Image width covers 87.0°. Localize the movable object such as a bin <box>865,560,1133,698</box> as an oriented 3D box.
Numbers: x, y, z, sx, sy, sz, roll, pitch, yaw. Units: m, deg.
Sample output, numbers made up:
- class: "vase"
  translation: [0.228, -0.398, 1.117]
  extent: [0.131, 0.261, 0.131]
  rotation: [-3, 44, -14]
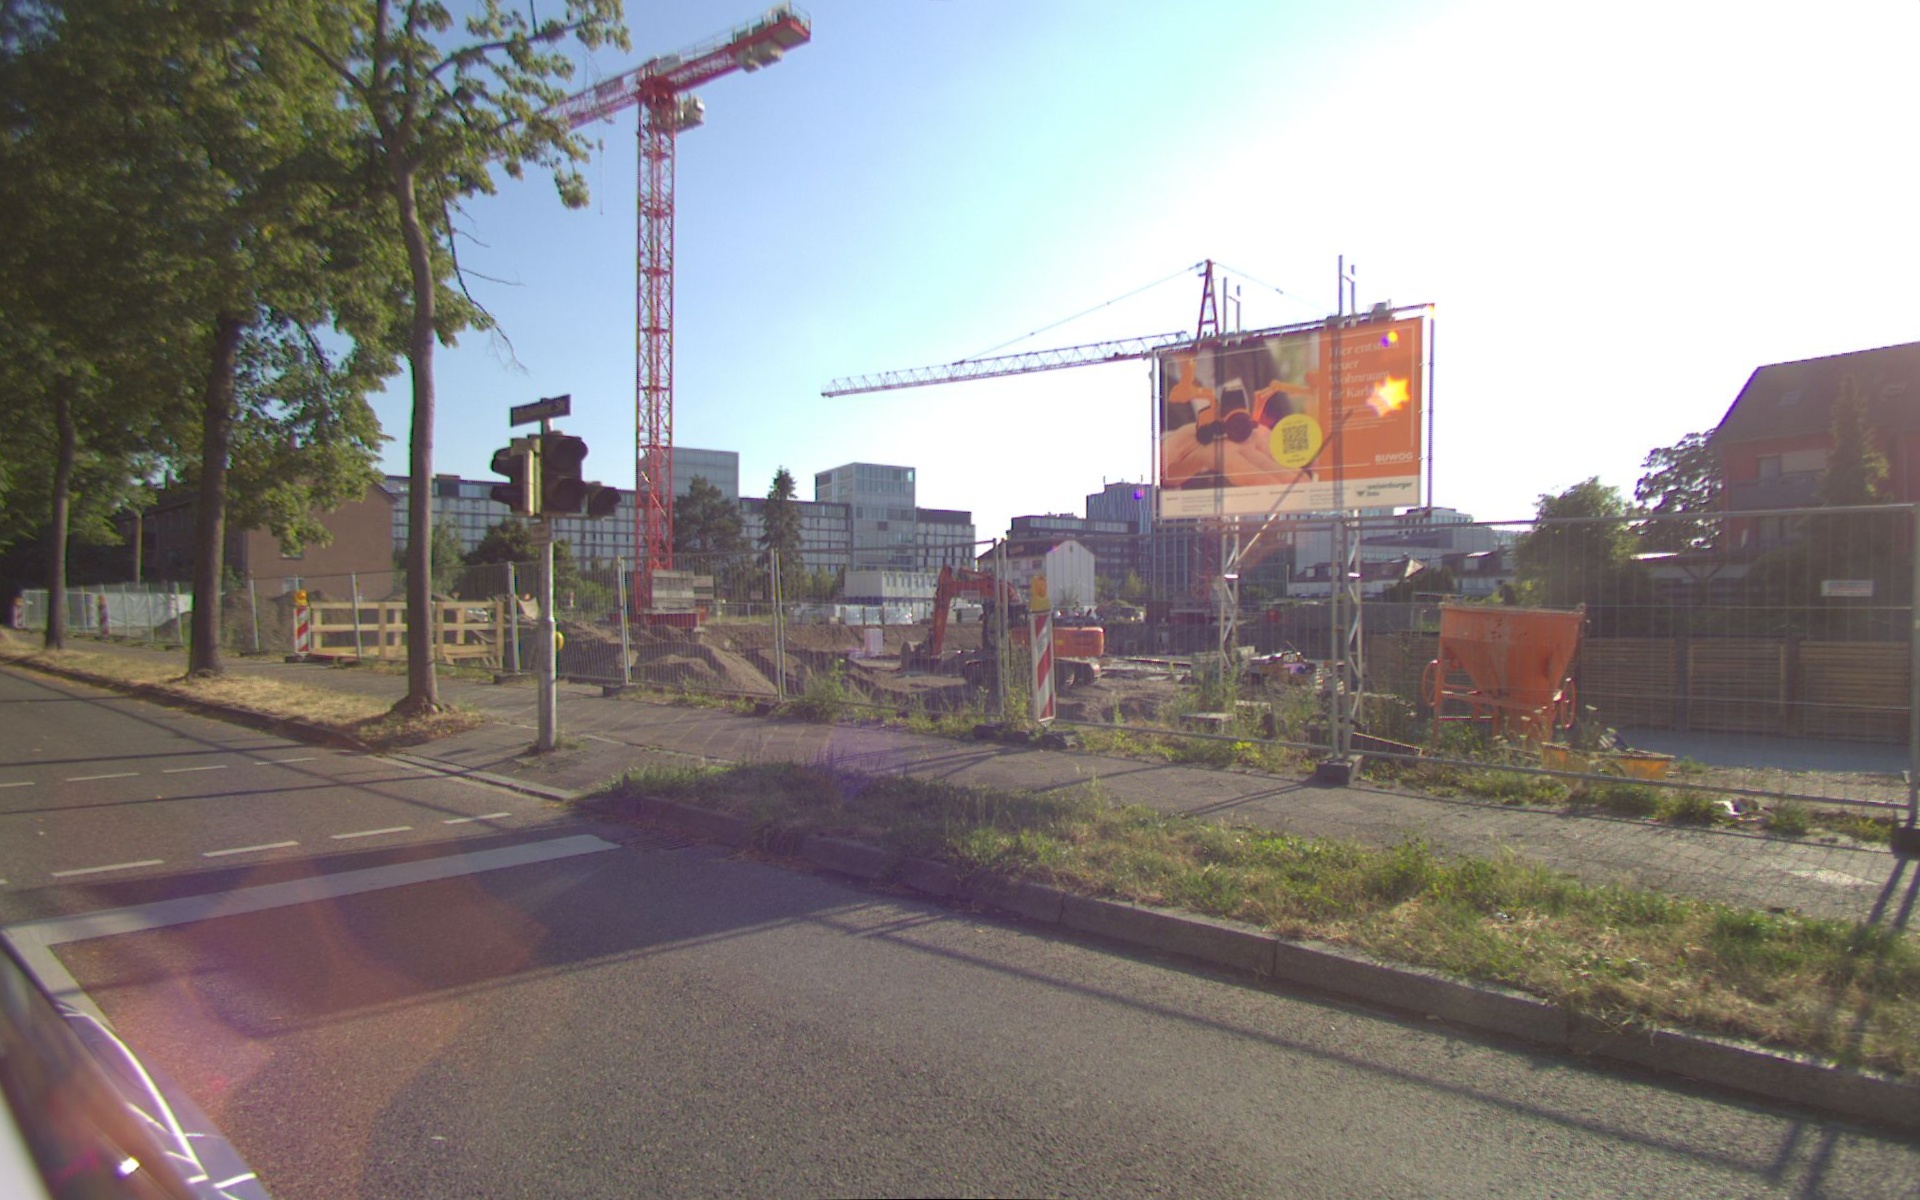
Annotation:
- class: "movable object such as a bin"
  translation: [1.270, 0.931, 43.288]
  extent: [4.038, 5.101, 12.237]
  rotation: [-2, 2, -43]
